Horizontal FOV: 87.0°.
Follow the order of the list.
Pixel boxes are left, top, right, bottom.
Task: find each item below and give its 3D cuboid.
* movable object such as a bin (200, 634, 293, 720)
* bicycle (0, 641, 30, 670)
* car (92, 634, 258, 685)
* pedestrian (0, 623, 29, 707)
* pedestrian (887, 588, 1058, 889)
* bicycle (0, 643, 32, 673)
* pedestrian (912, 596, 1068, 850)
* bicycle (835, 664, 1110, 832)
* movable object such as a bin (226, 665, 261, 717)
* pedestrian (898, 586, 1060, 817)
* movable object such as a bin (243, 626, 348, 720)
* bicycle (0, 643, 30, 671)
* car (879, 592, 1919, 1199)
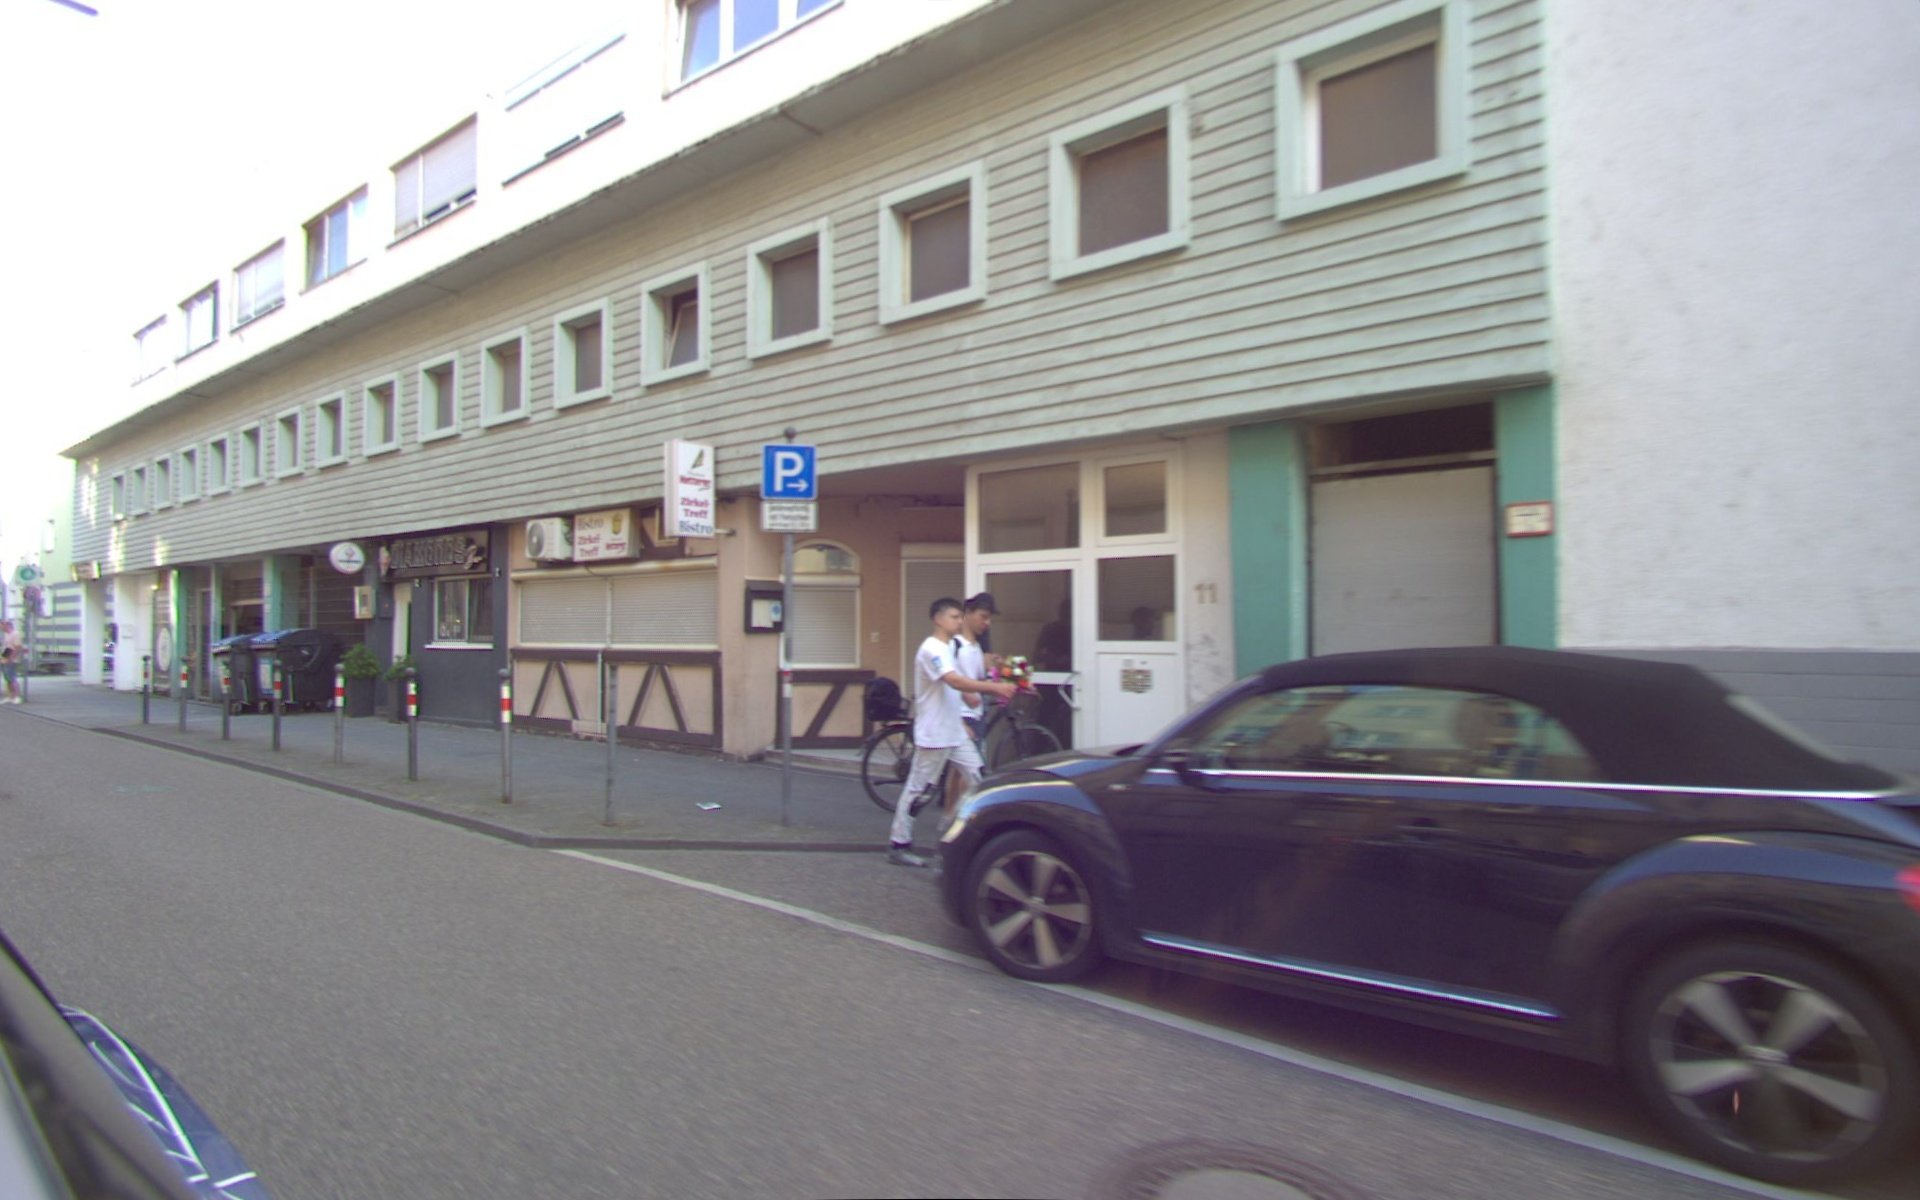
[{"bbox_3d":[-12.871,1.376,18.247,1.472,1.483,0.959,-4,-4,37],"label":"movable object such as a bin"},{"bbox_3d":[-39.880,2.337,42.093,0.387,1.109,1.722,-2,1,29],"label":"bicycle"},{"bbox_3d":[-25.206,1.885,32.627,1.689,1.531,3.897,-2,-3,35],"label":"car"},{"bbox_3d":[-19.578,1.327,20.768,0.624,1.682,0.489,-2,0,25],"label":"pedestrian"},{"bbox_3d":[0.087,0.831,6.457,0.828,1.748,0.691,-2,-4,39],"label":"pedestrian"},{"bbox_3d":[-38.621,2.348,40.704,0.748,1.109,1.800,-2,1,36],"label":"bicycle"},{"bbox_3d":[0.216,0.840,7.273,0.894,1.682,0.666,-2,-4,40],"label":"pedestrian"},{"bbox_3d":[0.119,1.131,8.224,2.098,1.172,0.826,1,-3,-28],"label":"bicycle"},{"bbox_3d":[-13.502,1.704,19.070,0.466,0.949,0.389,-2,-3,37],"label":"movable object such as a bin"},{"bbox_3d":[0.147,0.788,8.253,1.062,1.742,0.804,1,-3,-28],"label":"pedestrian"},{"bbox_3d":[-11.427,1.238,17.414,1.340,1.532,1.112,-3,-4,37],"label":"movable object such as a bin"},{"bbox_3d":[-39.604,2.375,41.785,0.387,1.109,1.722,-2,1,29],"label":"bicycle"},{"bbox_3d":[1.784,0.827,4.091,4.072,1.497,1.801,-2,-5,39],"label":"car"}]
